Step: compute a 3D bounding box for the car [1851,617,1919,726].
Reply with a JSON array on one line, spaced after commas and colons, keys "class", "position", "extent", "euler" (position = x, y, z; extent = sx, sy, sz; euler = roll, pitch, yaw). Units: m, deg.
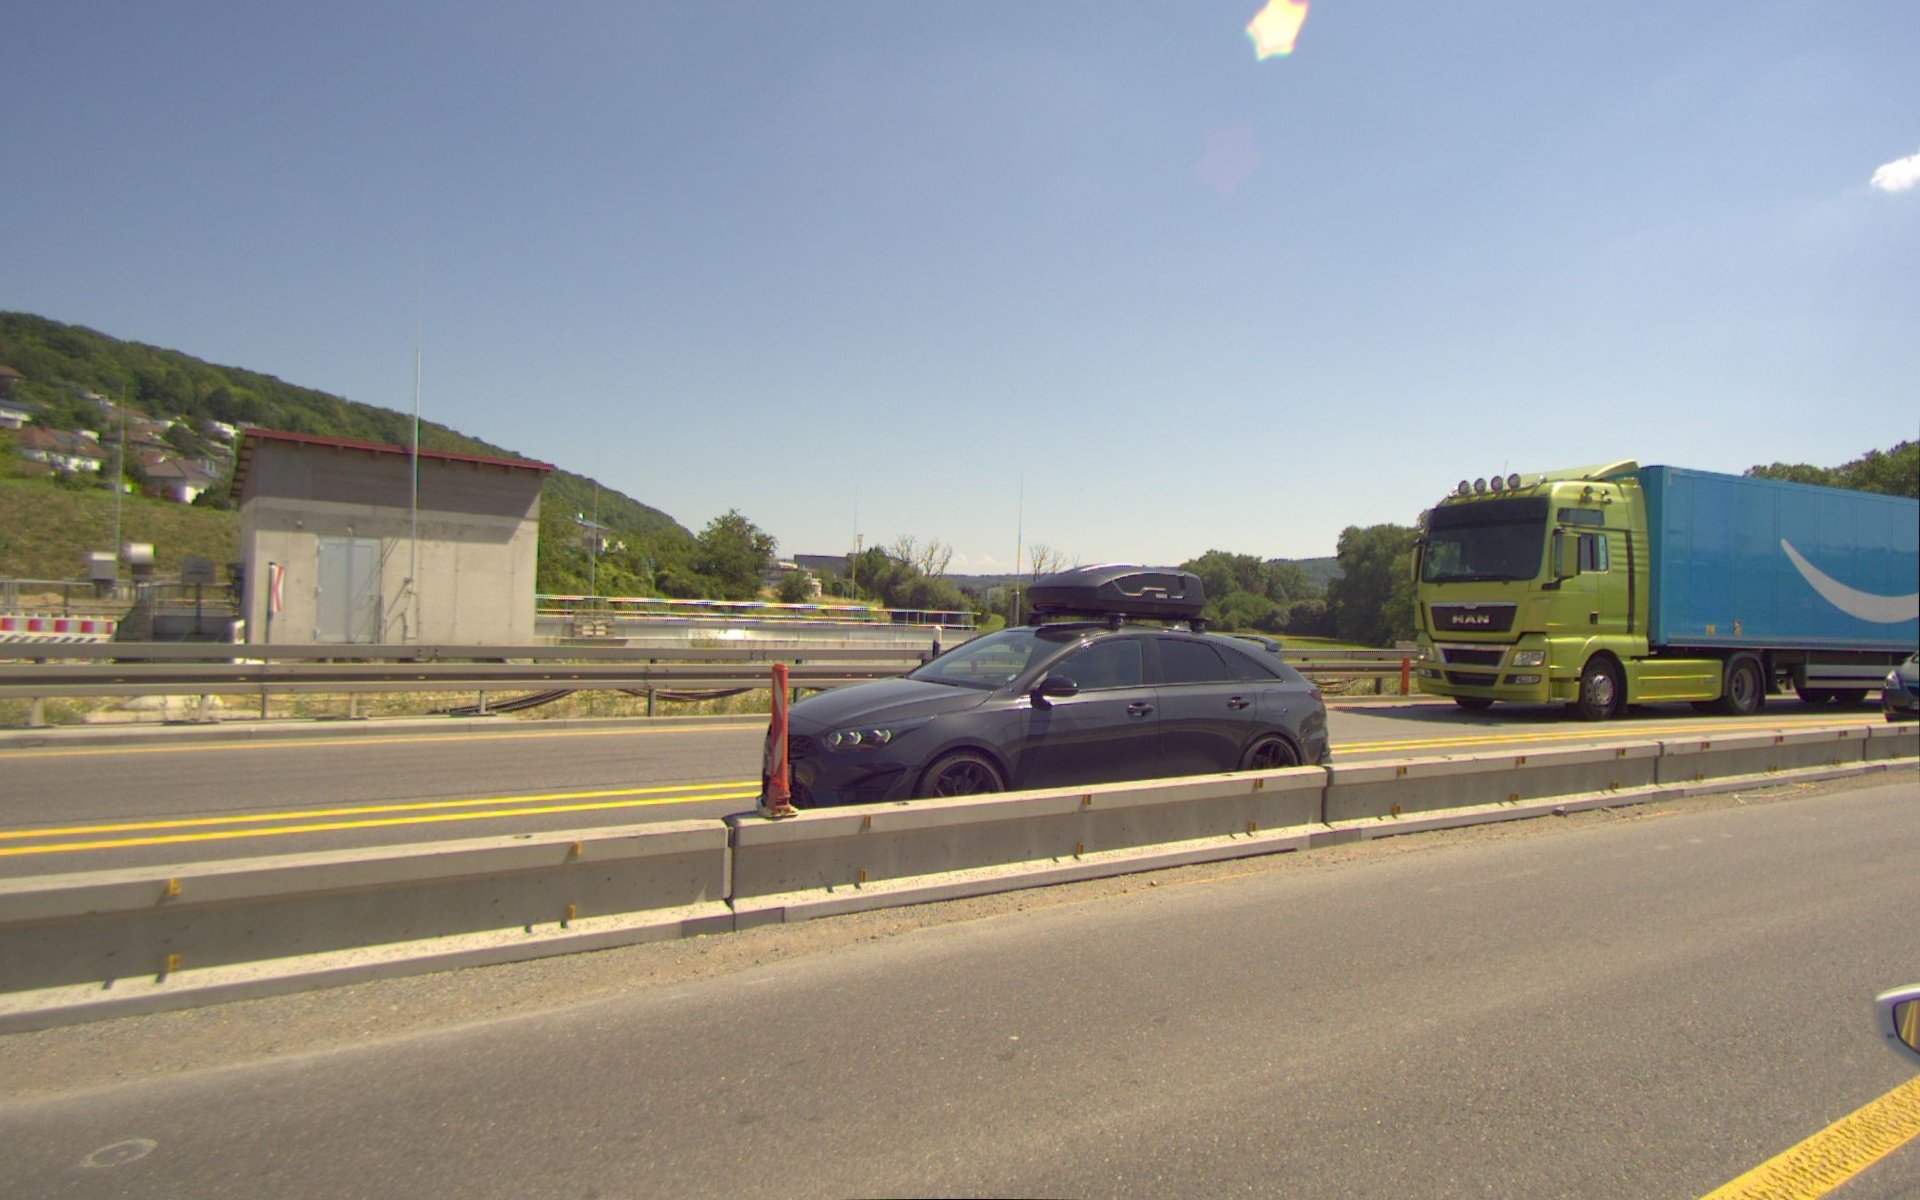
[{"class": "car", "position": [16.283, 1.140, 15.761], "extent": [4.240, 1.606, 1.816], "euler": [2, 0, -23]}]

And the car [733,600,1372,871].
[{"class": "car", "position": [0.812, 0.796, 7.448], "extent": [4.531, 1.454, 1.811], "euler": [2, 0, -31]}]

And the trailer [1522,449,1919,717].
[{"class": "trailer", "position": [17.089, 0.009, 20.146], "extent": [13.123, 4.350, 2.641], "euler": [3, 0, -24]}]

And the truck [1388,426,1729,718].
[{"class": "truck", "position": [10.105, -0.328, 17.021], "extent": [4.667, 4.327, 2.618], "euler": [3, 0, -24]}]
